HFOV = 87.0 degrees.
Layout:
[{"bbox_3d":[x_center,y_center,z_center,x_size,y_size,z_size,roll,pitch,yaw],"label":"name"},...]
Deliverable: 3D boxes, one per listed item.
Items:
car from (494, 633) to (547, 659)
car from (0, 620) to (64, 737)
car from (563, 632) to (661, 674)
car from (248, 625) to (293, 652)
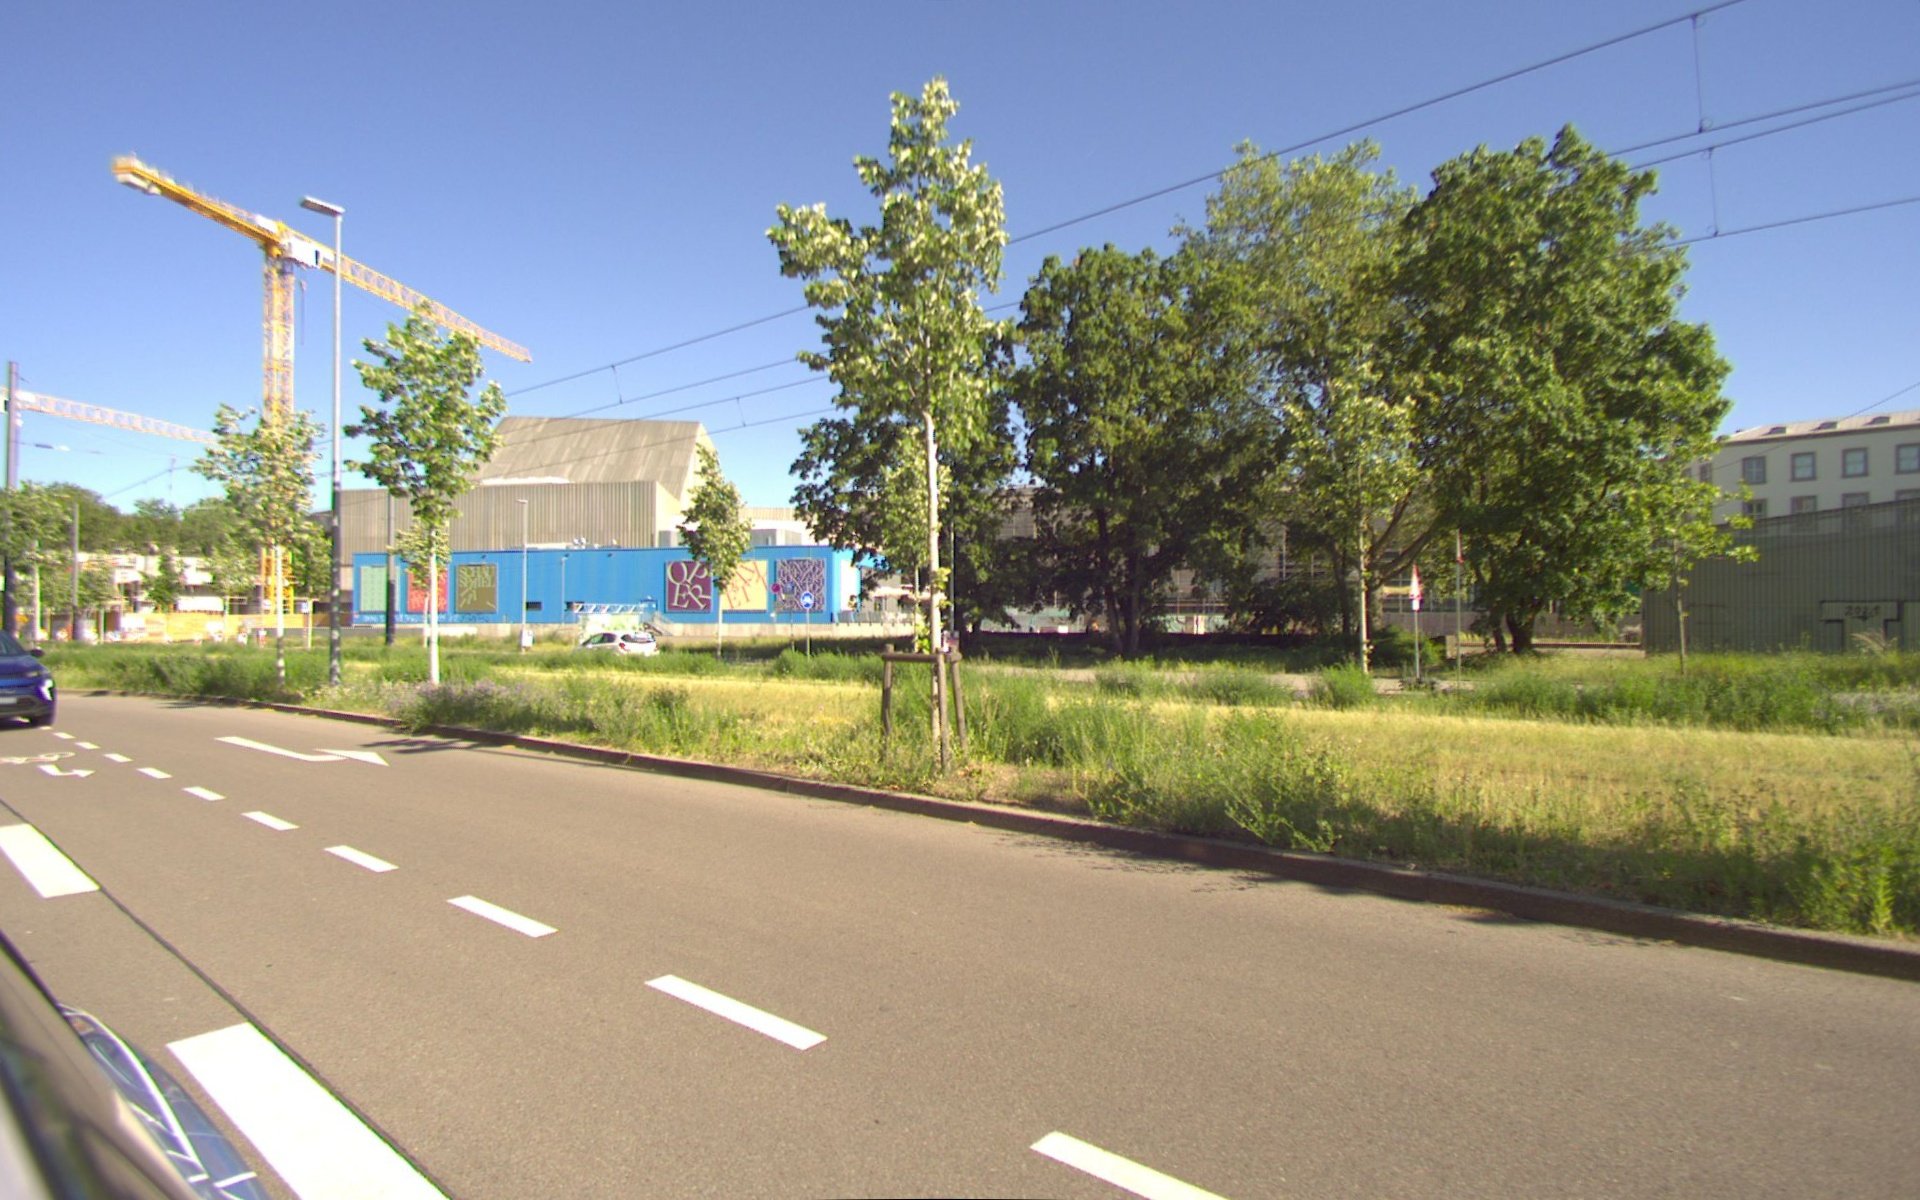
[{"bbox_3d":[-29.090,3.038,66.956,3.852,1.547,1.543,-1,1,37],"label":"car"},{"bbox_3d":[-15.594,1.209,15.484,4.140,1.634,1.731,-2,1,33],"label":"car"},{"bbox_3d":[-12.612,1.896,36.634,3.829,1.409,1.616,-2,-2,40],"label":"car"},{"bbox_3d":[-49.976,2.776,73.359,3.999,1.811,1.779,-1,1,42],"label":"car"}]
